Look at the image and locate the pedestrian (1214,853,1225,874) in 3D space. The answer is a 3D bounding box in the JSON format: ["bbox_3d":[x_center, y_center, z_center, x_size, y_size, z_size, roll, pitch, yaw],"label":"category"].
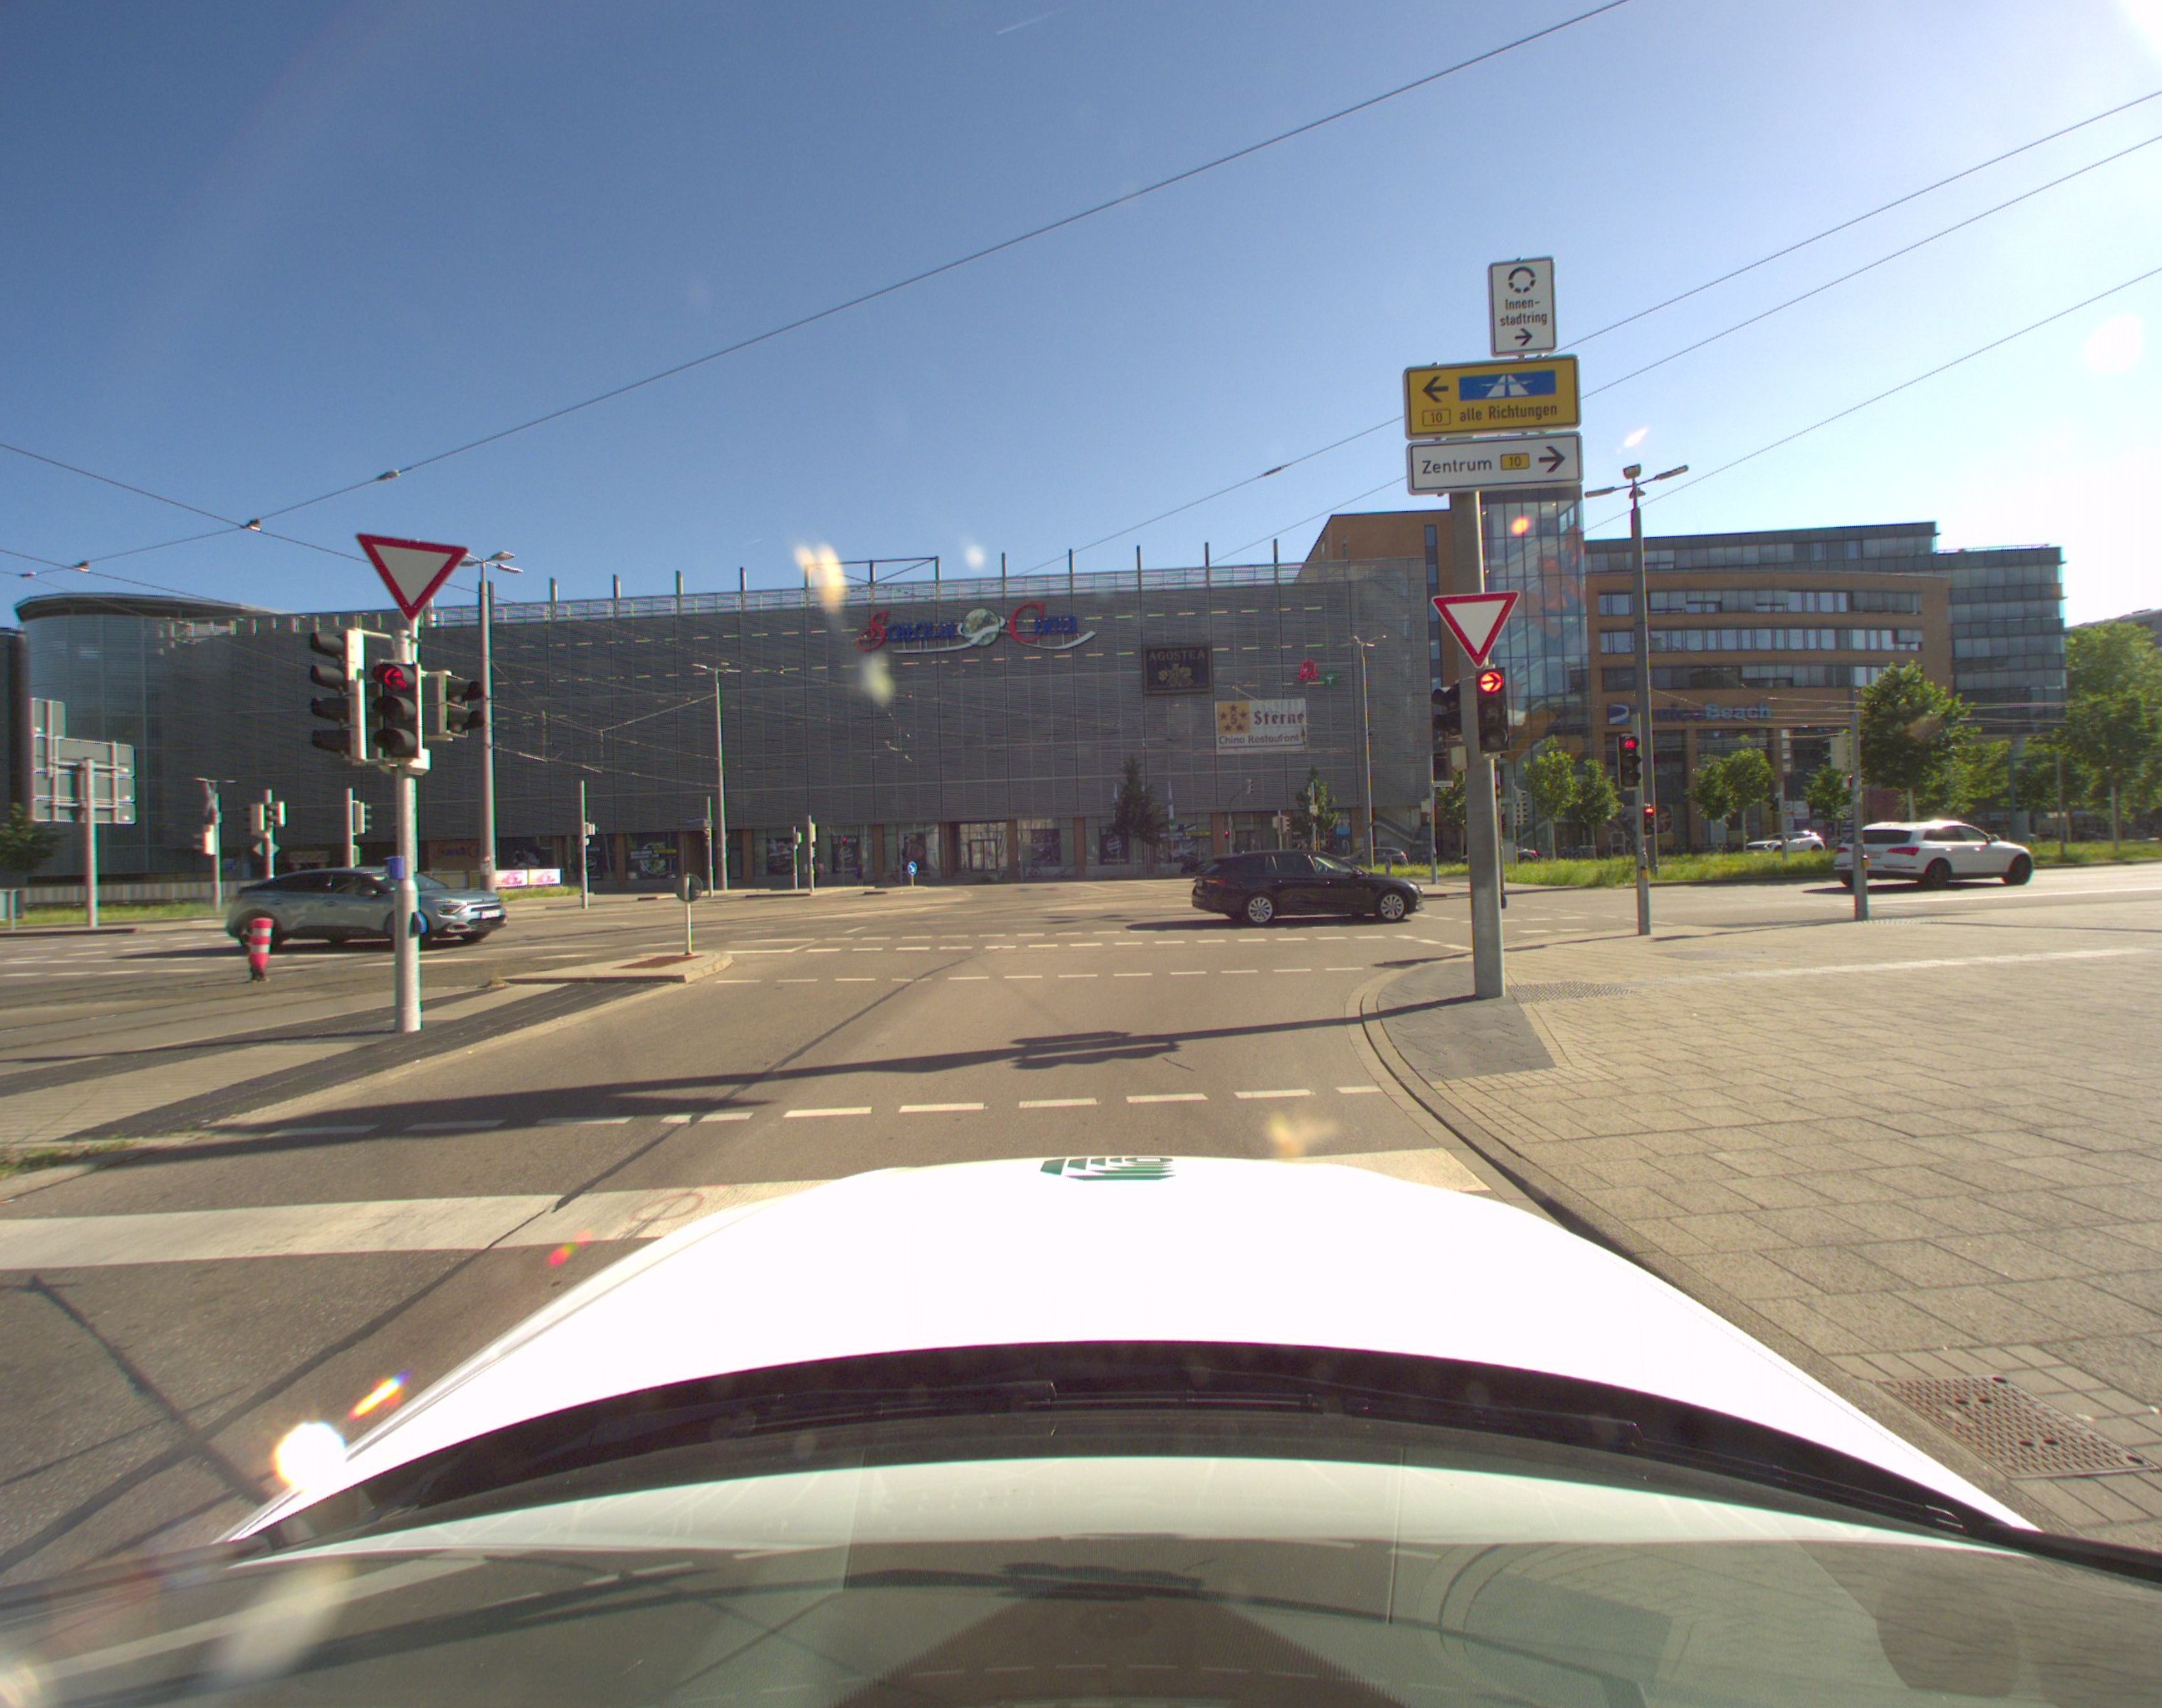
[{"bbox_3d":[9.404,0.625,55.197,0.650,1.414,0.853,-1,-1,12],"label":"pedestrian"}]

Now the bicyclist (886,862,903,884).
[{"bbox_3d":[-12.630,1.268,55.233,0.667,1.427,0.855,-1,2,45],"label":"bicyclist"}]

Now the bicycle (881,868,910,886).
[{"bbox_3d":[-12.586,1.579,55.306,0.562,1.086,1.874,-1,2,45],"label":"bicycle"}]

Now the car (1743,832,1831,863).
[{"bbox_3d":[44.291,-0.393,51.103,4.326,1.863,1.834,-1,-1,-10],"label":"car"}]

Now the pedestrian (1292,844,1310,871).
[{"bbox_3d":[15.795,0.252,58.431,1.007,1.828,1.037,-3,0,5],"label":"pedestrian"}]

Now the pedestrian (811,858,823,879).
[{"bbox_3d":[-20.245,1.135,62.490,0.654,1.601,0.597,-1,-1,20],"label":"pedestrian"}]

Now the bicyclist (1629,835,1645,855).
[{"bbox_3d":[40.266,-0.637,59.004,0.750,1.386,0.566,-2,1,1],"label":"bicyclist"}]

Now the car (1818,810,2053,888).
[{"bbox_3d":[21.551,-0.143,20.593,4.672,1.707,1.929,-2,0,-12],"label":"car"}]

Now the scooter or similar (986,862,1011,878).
[{"bbox_3d":[-6.185,1.197,61.227,1.790,1.066,0.611,-2,1,-6],"label":"scooter or similar"}]

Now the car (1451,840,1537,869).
[{"bbox_3d":[25.009,0.021,49.355,4.274,1.584,1.841,2,-1,1],"label":"car"}]

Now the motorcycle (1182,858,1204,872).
[{"bbox_3d":[8.311,0.824,60.591,1.630,1.004,0.448,0,0,8],"label":"motorcycle"}]

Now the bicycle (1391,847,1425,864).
[{"bbox_3d":[24.342,0.105,60.613,2.247,1.296,0.606,0,-1,0],"label":"bicycle"}]

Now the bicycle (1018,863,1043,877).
[{"bbox_3d":[-3.783,1.168,60.786,1.815,0.989,0.556,-2,1,-8],"label":"bicycle"}]

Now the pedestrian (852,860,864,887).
[{"bbox_3d":[-15.204,1.305,55.458,0.695,1.797,0.727,-3,0,-14],"label":"pedestrian"}]

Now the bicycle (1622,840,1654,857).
[{"bbox_3d":[40.355,-0.404,59.012,1.850,1.217,0.569,-2,1,1],"label":"bicycle"}]

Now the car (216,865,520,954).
[{"bbox_3d":[-13.524,1.016,15.643,4.251,1.514,1.708,-1,0,-1],"label":"car"}]

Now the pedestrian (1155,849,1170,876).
[{"bbox_3d":[5.983,0.635,59.605,0.945,1.829,0.847,-3,-4,7],"label":"pedestrian"}]

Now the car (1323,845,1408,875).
[{"bbox_3d":[15.881,0.344,45.615,4.132,1.470,1.841,2,-1,0],"label":"car"}]

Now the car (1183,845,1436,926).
[{"bbox_3d":[4.552,0.598,16.648,4.658,1.462,1.831,-1,0,-3],"label":"car"}]
